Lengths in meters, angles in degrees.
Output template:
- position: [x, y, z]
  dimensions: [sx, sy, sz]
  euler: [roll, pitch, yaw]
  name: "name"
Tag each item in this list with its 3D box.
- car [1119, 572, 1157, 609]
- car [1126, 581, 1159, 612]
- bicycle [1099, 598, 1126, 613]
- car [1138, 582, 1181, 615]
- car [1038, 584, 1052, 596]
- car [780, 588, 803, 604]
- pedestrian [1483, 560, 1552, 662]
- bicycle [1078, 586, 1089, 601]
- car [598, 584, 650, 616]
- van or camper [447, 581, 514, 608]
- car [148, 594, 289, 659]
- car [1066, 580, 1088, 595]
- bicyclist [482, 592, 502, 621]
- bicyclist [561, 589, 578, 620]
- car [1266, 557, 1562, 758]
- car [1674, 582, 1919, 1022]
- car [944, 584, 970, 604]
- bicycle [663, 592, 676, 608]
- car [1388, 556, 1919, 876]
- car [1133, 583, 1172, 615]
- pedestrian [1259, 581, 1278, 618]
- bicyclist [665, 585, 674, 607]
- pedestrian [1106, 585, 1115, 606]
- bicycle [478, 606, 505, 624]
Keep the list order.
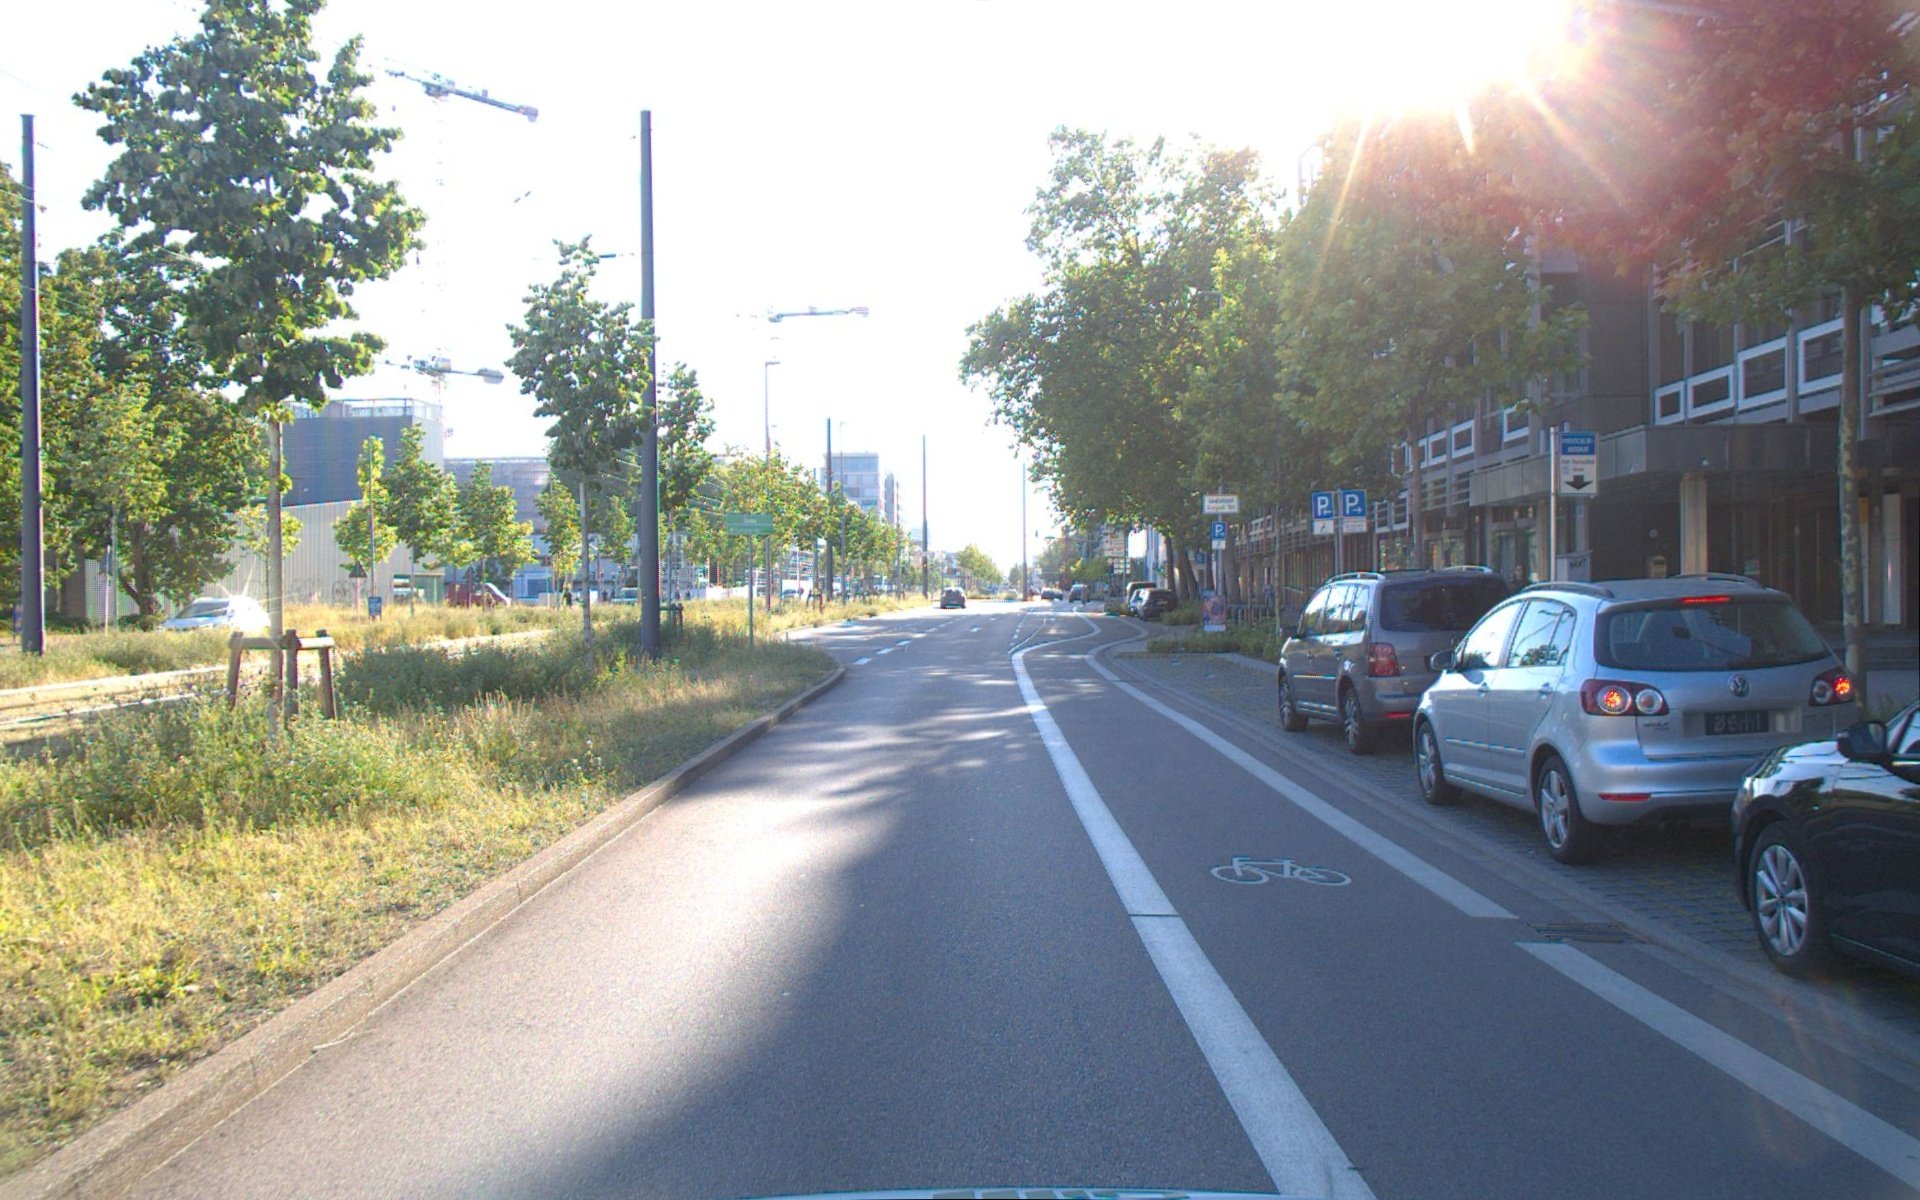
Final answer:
- position: [10.353, -0.574, 96.325]
  dimensions: [1.791, 2.005, 5.324]
  euler: [-3, 0, 3]
  name: "car"
- position: [9.968, -0.209, 90.106]
  dimensions: [1.646, 1.540, 5.063]
  euler: [-3, 0, 7]
  name: "car"
- position: [9.645, 0.340, 104.546]
  dimensions: [1.656, 0.882, 0.573]
  euler: [-2, 0, 11]
  name: "bicycle"
- position: [9.358, -0.081, 77.961]
  dimensions: [1.671, 1.443, 4.278]
  euler: [-3, 0, 3]
  name: "car"
- position: [11.076, -1.289, 215.375]
  dimensions: [1.723, 1.510, 3.850]
  euler: [-1, 1, 1]
  name: "car"
- position: [-18.683, -0.449, 183.343]
  dimensions: [1.952, 1.807, 4.001]
  euler: [-1, 1, 2]
  name: "car"
- position: [9.485, 0.175, 28.185]
  dimensions: [0.773, 1.677, 1.137]
  euler: [-2, 0, 1]
  name: "pedestrian"
- position: [9.903, -0.521, 132.507]
  dimensions: [0.782, 1.225, 2.266]
  euler: [0, 1, 7]
  name: "bicycle"
- position: [-19.306, -0.028, 95.188]
  dimensions: [1.832, 1.796, 4.814]
  euler: [-1, 1, 1]
  name: "car"
- position: [-44.069, -0.513, 152.089]
  dimensions: [5.541, 2.456, 2.156]
  euler: [-1, 0, 4]
  name: "van or camper"
- position: [-20.363, 0.688, 45.610]
  dimensions: [1.953, 1.671, 4.167]
  euler: [-1, 0, 0]
  name: "car"
- position: [11.458, -1.212, 162.418]
  dimensions: [1.900, 1.453, 3.926]
  euler: [-1, 1, 1]
  name: "car"
- position: [-22.598, 0.294, 79.852]
  dimensions: [0.673, 1.370, 0.871]
  euler: [-1, 0, 1]
  name: "bicyclist"
- position: [-22.066, 0.267, 93.363]
  dimensions: [0.673, 1.738, 0.954]
  euler: [-1, 0, 2]
  name: "bicyclist"
- position: [4.465, 0.484, 16.996]
  dimensions: [1.693, 1.717, 4.514]
  euler: [-3, 1, -1]
  name: "car"
- position: [4.177, 0.692, 5.423]
  dimensions: [1.758, 1.474, 4.377]
  euler: [-3, 1, 0]
  name: "car"
- position: [-0.203, -0.447, 118.901]
  dimensions: [1.740, 1.453, 4.001]
  euler: [0, 1, 1]
  name: "car"
- position: [-20.617, -0.016, 117.406]
  dimensions: [0.547, 1.078, 1.899]
  euler: [-1, 0, 3]
  name: "bicycle"
- position: [4.304, 0.600, 11.055]
  dimensions: [1.693, 1.650, 4.216]
  euler: [-3, 1, -1]
  name: "car"
- position: [9.802, -0.069, 84.436]
  dimensions: [1.646, 1.504, 3.876]
  euler: [-3, 0, 3]
  name: "car"
- position: [16.024, -0.022, 85.909]
  dimensions: [0.814, 1.888, 0.847]
  euler: [-1, 0, 2]
  name: "pedestrian"
- position: [-20.619, -0.304, 117.401]
  dimensions: [0.545, 1.533, 0.668]
  euler: [-1, 0, 3]
  name: "bicyclist"
- position: [12.101, -0.373, 133.041]
  dimensions: [0.621, 1.636, 0.570]
  euler: [-2, 0, 3]
  name: "pedestrian"
- position: [-22.603, 0.717, 79.771]
  dimensions: [0.673, 0.818, 2.145]
  euler: [-1, 1, 1]
  name: "bicycle"
